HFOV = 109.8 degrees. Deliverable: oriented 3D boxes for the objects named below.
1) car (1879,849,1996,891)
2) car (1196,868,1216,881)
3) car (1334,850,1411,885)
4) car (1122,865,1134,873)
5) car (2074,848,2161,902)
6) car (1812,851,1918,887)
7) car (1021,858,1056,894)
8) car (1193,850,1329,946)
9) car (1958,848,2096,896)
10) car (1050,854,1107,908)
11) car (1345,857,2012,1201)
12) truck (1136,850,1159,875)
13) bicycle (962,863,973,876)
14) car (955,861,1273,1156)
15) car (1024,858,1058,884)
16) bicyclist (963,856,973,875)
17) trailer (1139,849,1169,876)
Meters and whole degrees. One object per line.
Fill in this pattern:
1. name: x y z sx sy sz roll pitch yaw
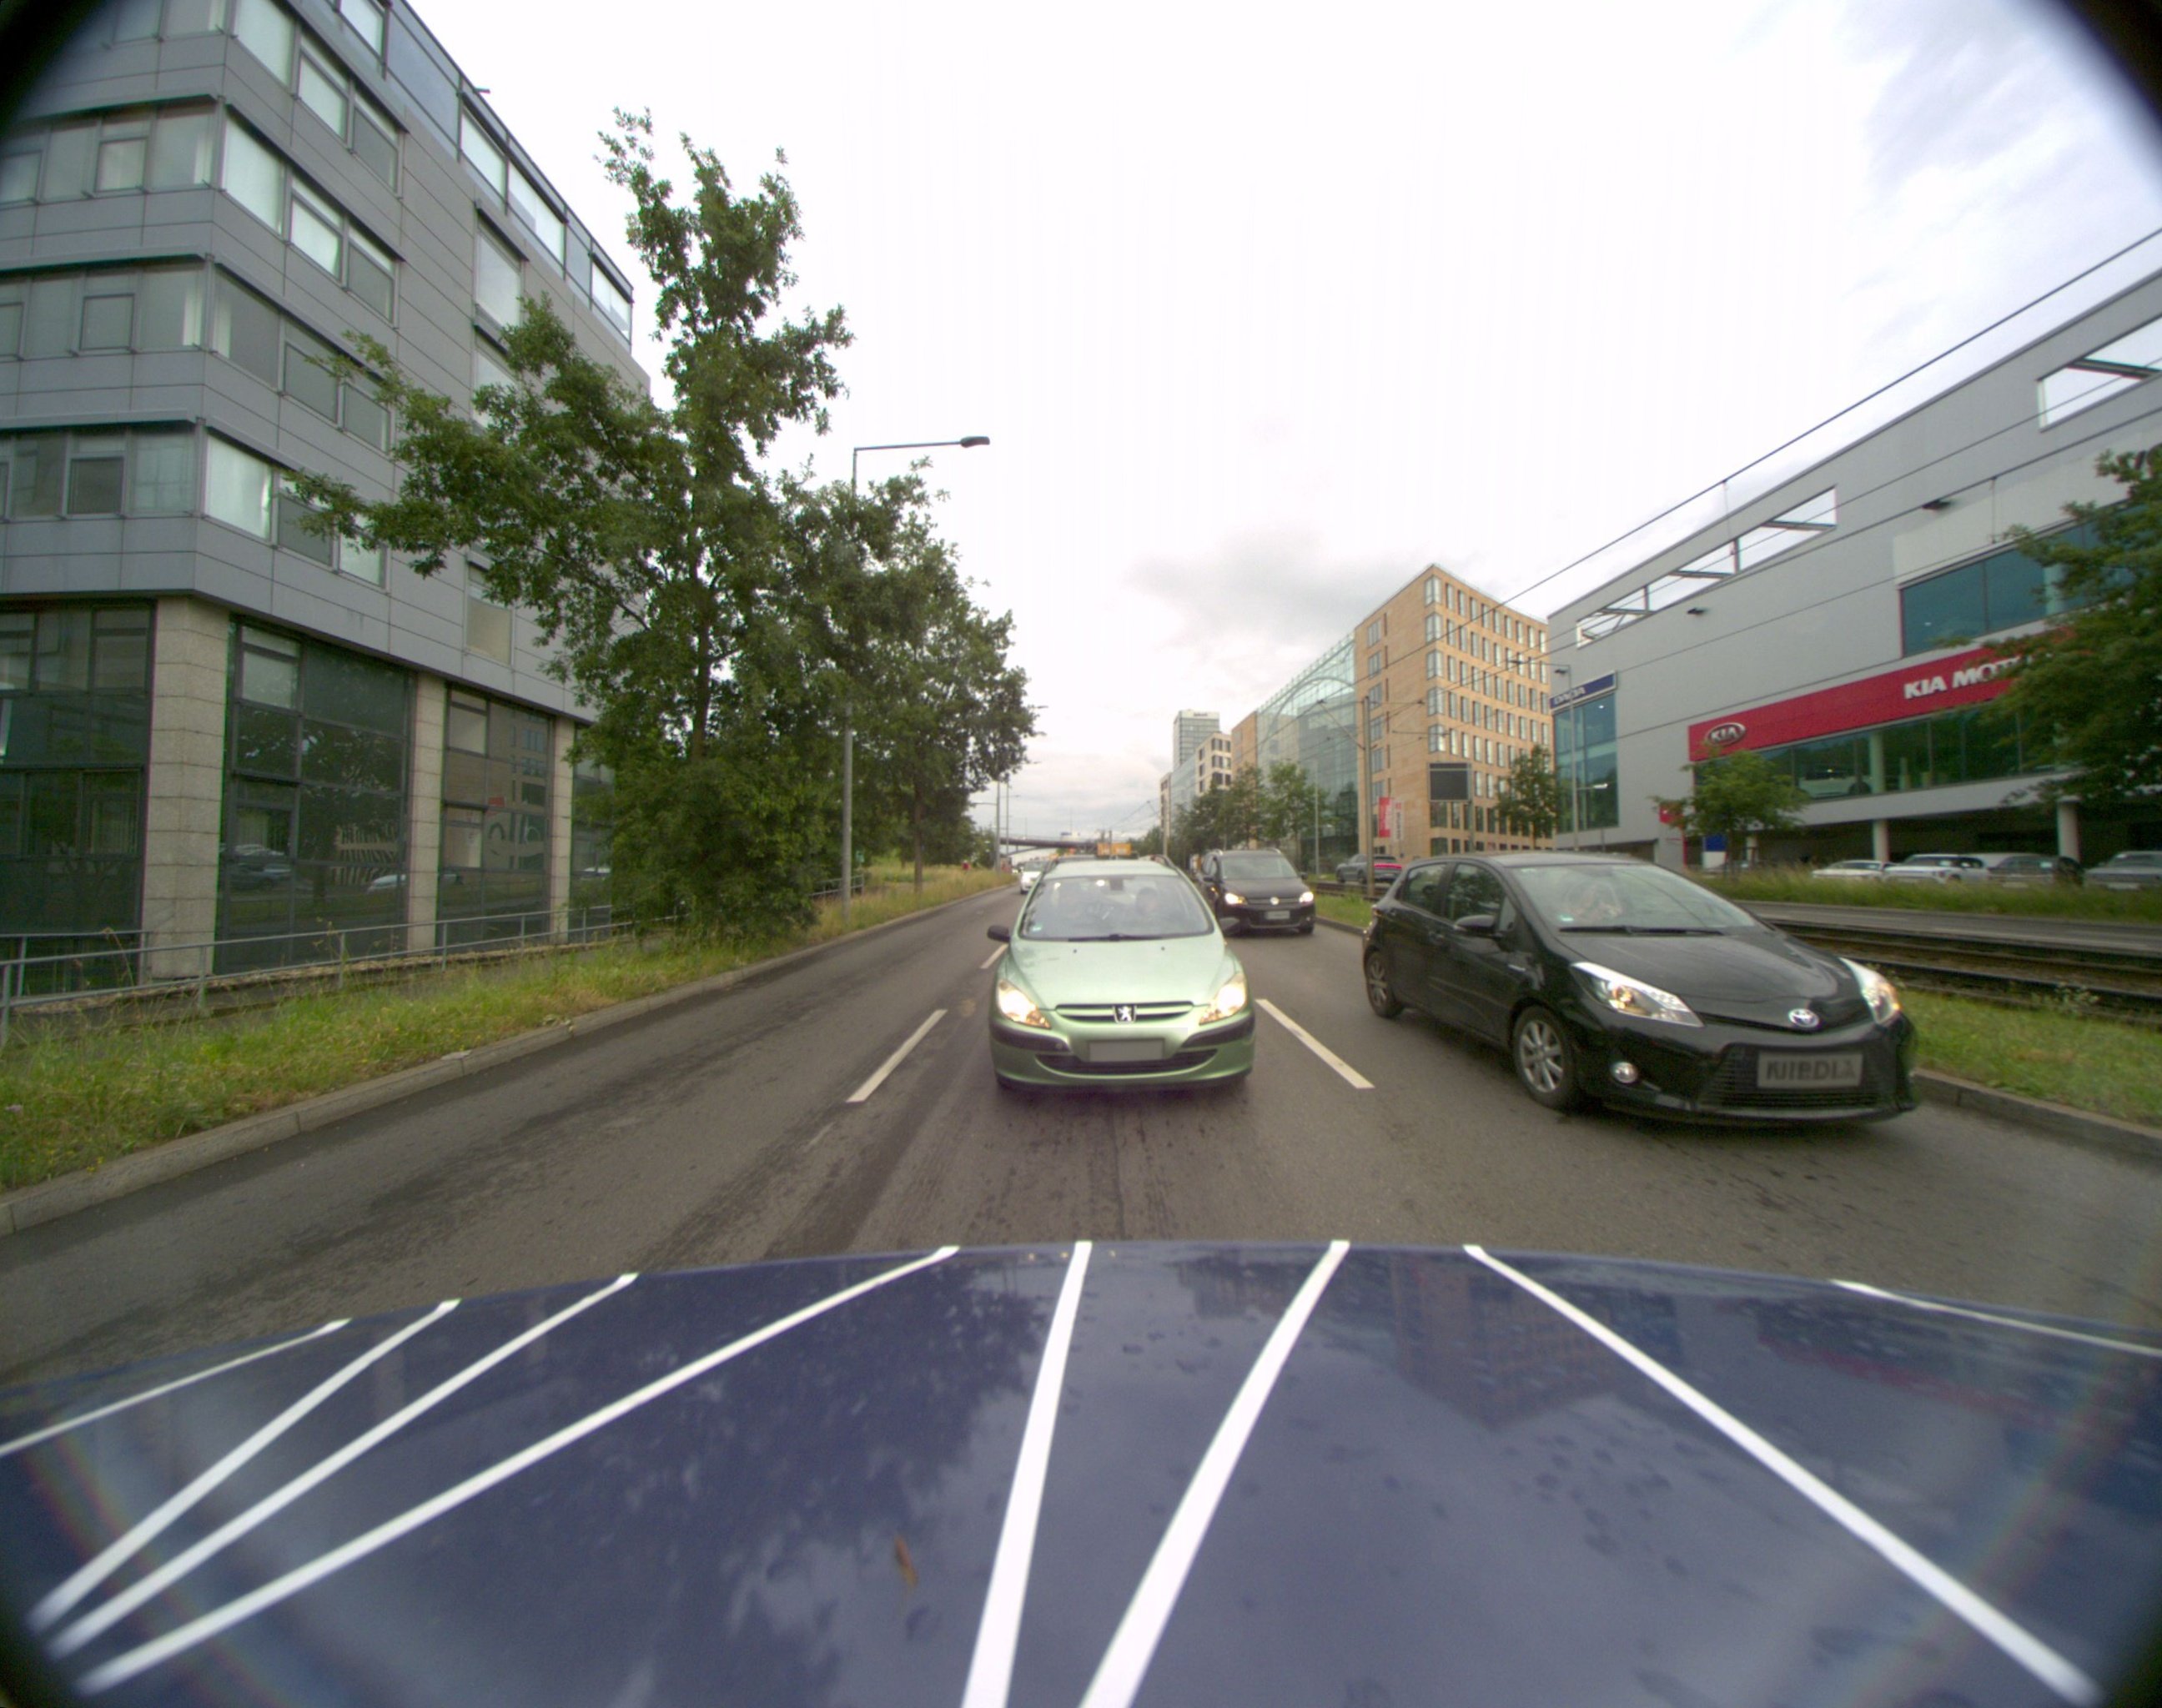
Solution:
1. car: 31.761 0.565 28.172 3.668 1.287 1.696 -4 1 -22
2. car: 16.813 2.757 102.291 1.689 1.571 4.097 -1 0 -4
3. car: 15.255 0.691 40.021 1.999 1.709 4.839 1 0 -2
4. car: 8.745 2.756 141.408 1.655 1.428 3.878 -1 0 -4
5. car: 32.033 0.592 22.830 3.528 1.344 1.696 -4 1 -20
6. car: 31.738 0.580 30.777 3.668 1.181 1.696 -4 1 -22
7. car: -1.979 0.980 35.085 1.518 1.495 3.167 -1 0 -4
8. car: 3.415 0.753 15.235 1.786 1.597 4.318 -2 0 2
9. car: 31.599 0.573 25.391 3.528 1.344 1.696 -4 1 -17
10. car: -0.076 0.855 26.100 1.759 1.649 4.338 -1 0 0
11. car: 3.426 0.813 5.411 1.704 1.523 3.826 -1 0 -1
12. truck: 12.033 1.489 137.747 3.144 4.219 7.026 2 0 -3
13. bicycle: -9.771 1.341 65.544 0.582 1.082 1.906 -2 0 1
14. car: 0.163 0.864 6.335 1.704 1.523 4.370 -1 0 -1
15. car: -2.482 1.030 47.450 1.828 1.495 3.766 -1 0 1
16. bicyclist: -9.763 0.979 65.704 0.647 1.569 0.855 -2 0 1
17. trailer: 12.415 1.458 130.209 3.143 4.304 13.277 2 0 -3
